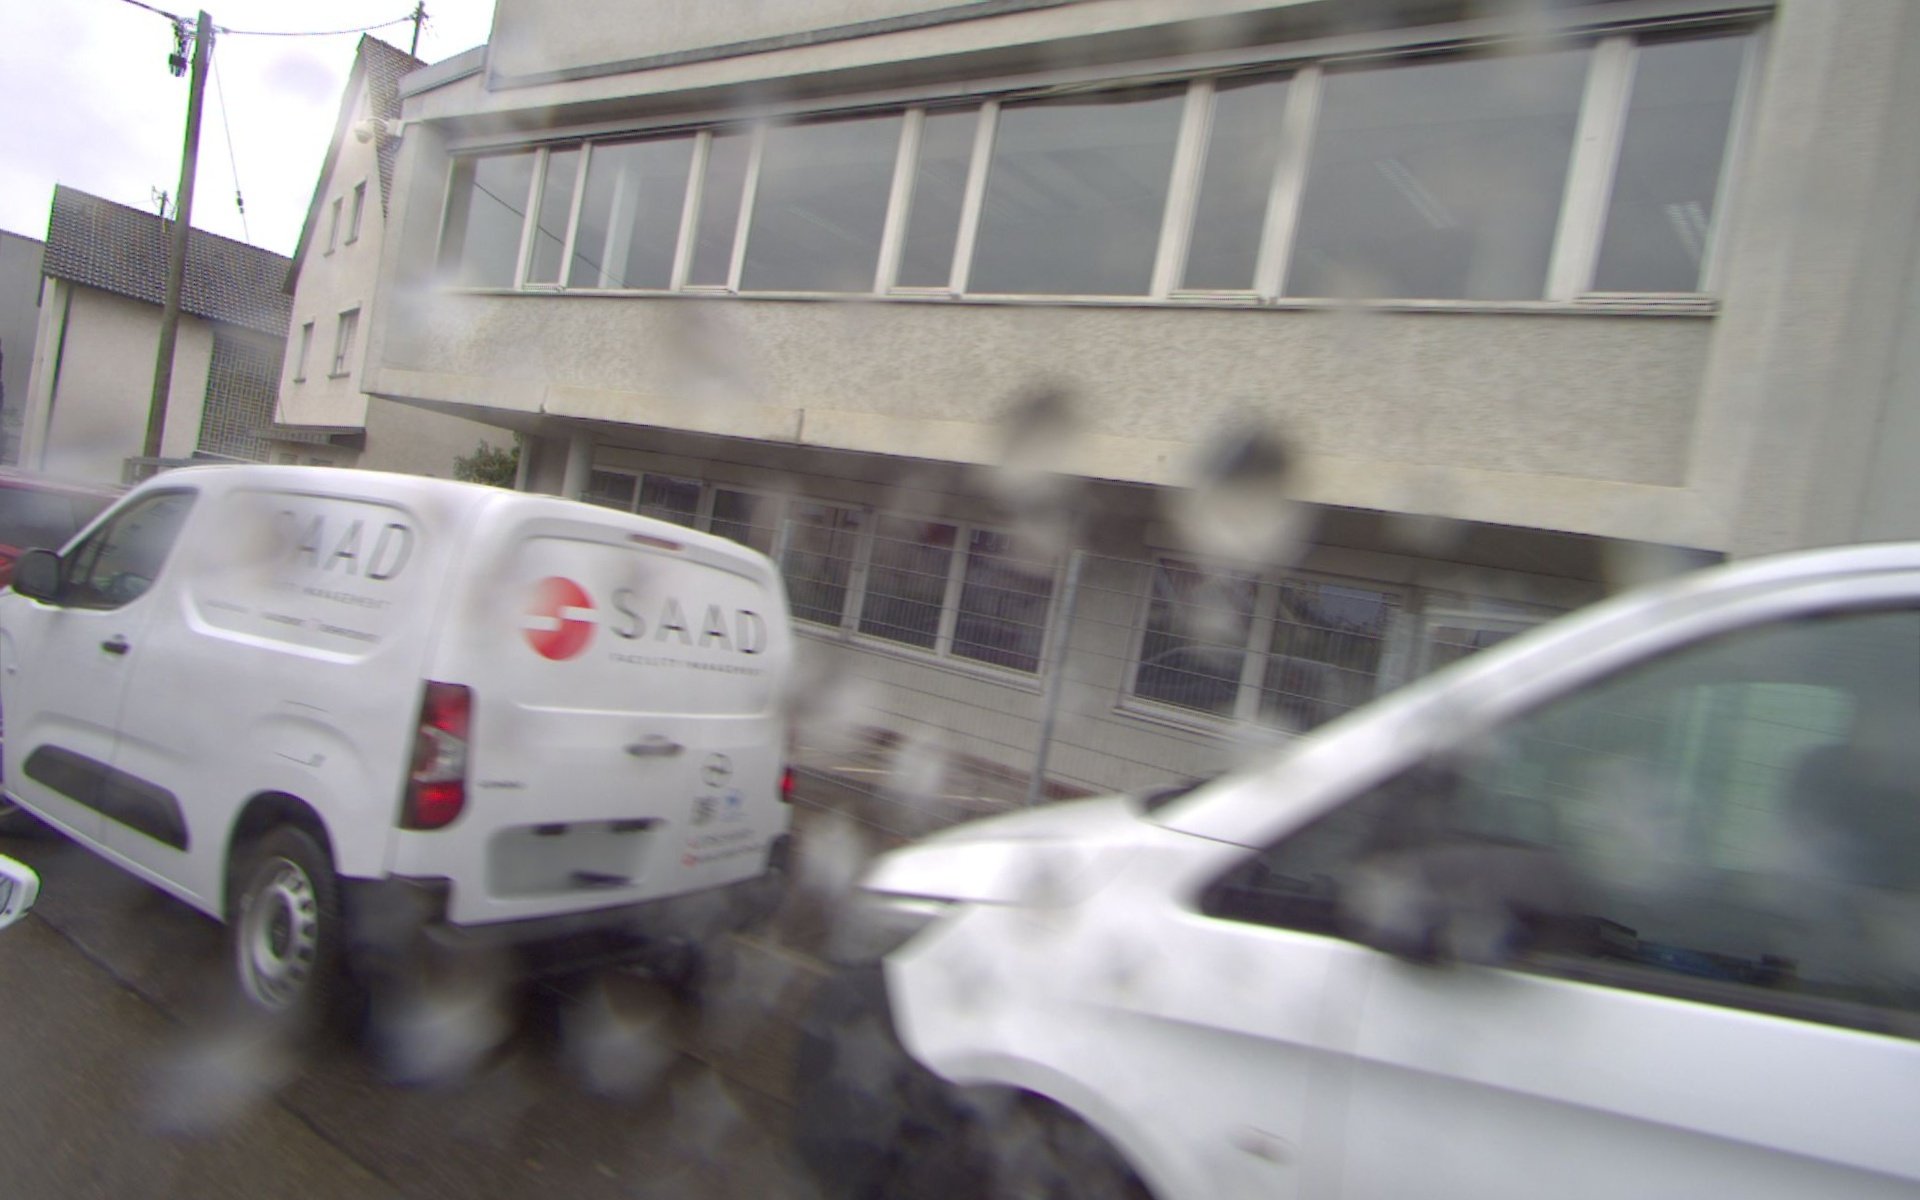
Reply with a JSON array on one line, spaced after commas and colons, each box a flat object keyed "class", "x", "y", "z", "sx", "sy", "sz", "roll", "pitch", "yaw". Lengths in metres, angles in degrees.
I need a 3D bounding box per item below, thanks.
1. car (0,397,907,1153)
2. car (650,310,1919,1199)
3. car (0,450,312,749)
[{"class": "car", "x": -2.670, "y": 0.274, "z": 4.424, "sx": 4.414, "sy": 1.856, "sz": 1.881, "roll": 7, "pitch": 0, "yaw": 32}, {"class": "car", "x": 1.999, "y": 0.771, "z": 1.771, "sx": 4.893, "sy": 1.958, "sz": 1.996, "roll": 7, "pitch": 0, "yaw": 32}, {"class": "car", "x": -7.105, "y": -0.206, "z": 7.344, "sx": 4.876, "sy": 1.664, "sz": 1.997, "roll": 7, "pitch": -1, "yaw": 32}]
